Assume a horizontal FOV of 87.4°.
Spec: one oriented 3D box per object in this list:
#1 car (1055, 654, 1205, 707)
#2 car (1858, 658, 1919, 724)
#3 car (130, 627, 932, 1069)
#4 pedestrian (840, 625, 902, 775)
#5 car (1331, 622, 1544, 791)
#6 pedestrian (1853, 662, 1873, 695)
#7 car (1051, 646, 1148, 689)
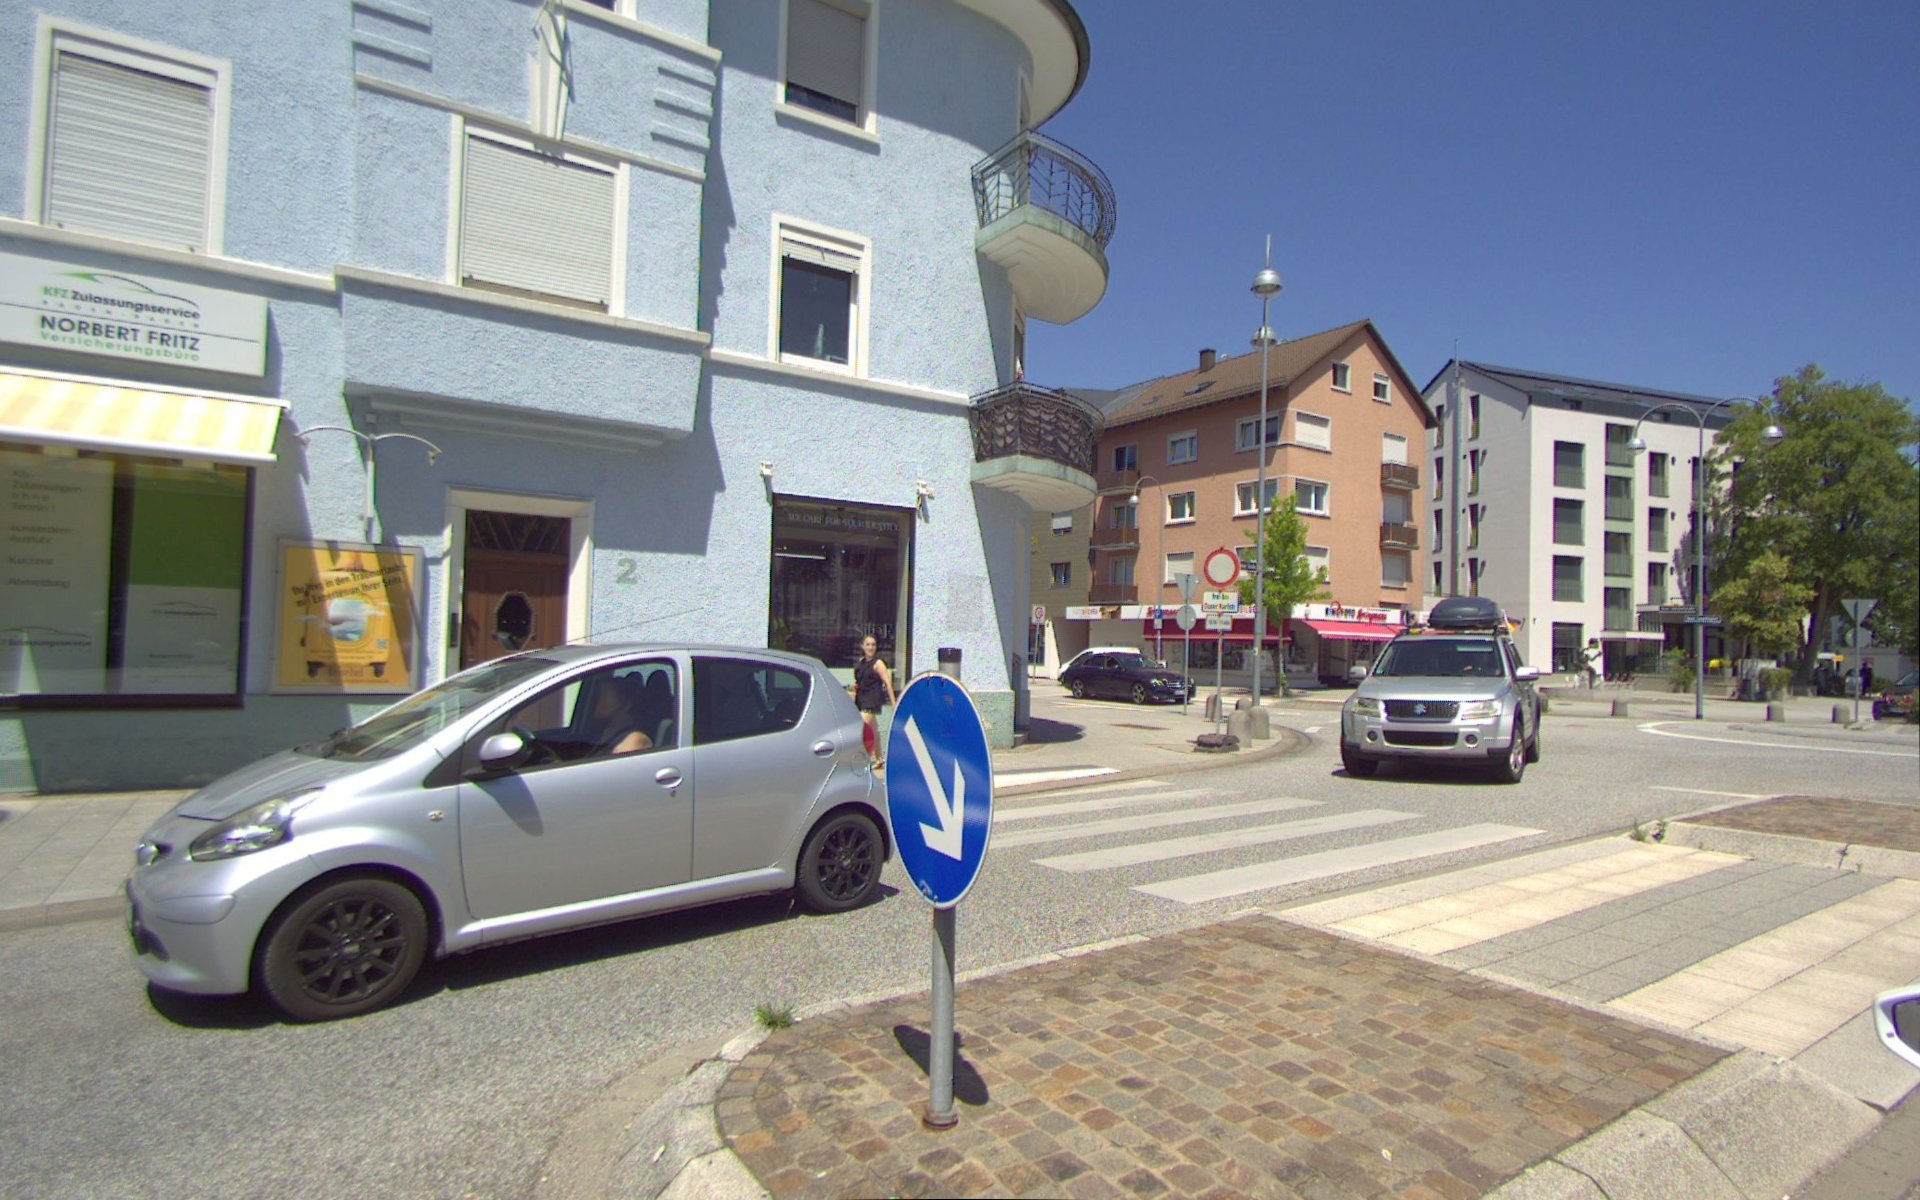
[{"bbox_3d":[5.085,2.387,30.544,1.764,1.421,4.459,1,-3,-38],"label":"car"},{"bbox_3d":[26.158,2.420,26.498,3.992,1.664,1.799,2,-3,-15],"label":"car"},{"bbox_3d":[-1.942,0.929,5.133,3.446,1.469,1.561,3,-5,-43],"label":"car"},{"bbox_3d":[-0.977,1.092,11.137,0.535,1.606,0.515,0,-3,11],"label":"pedestrian"},{"bbox_3d":[6.045,1.226,12.443,1.807,1.710,4.192,-3,-5,33],"label":"car"},{"bbox_3d":[44.319,3.840,49.308,0.553,1.596,0.534,2,-3,-19],"label":"pedestrian"},{"bbox_3d":[6.115,2.943,44.195,3.946,1.772,1.791,-2,-4,45],"label":"car"}]
